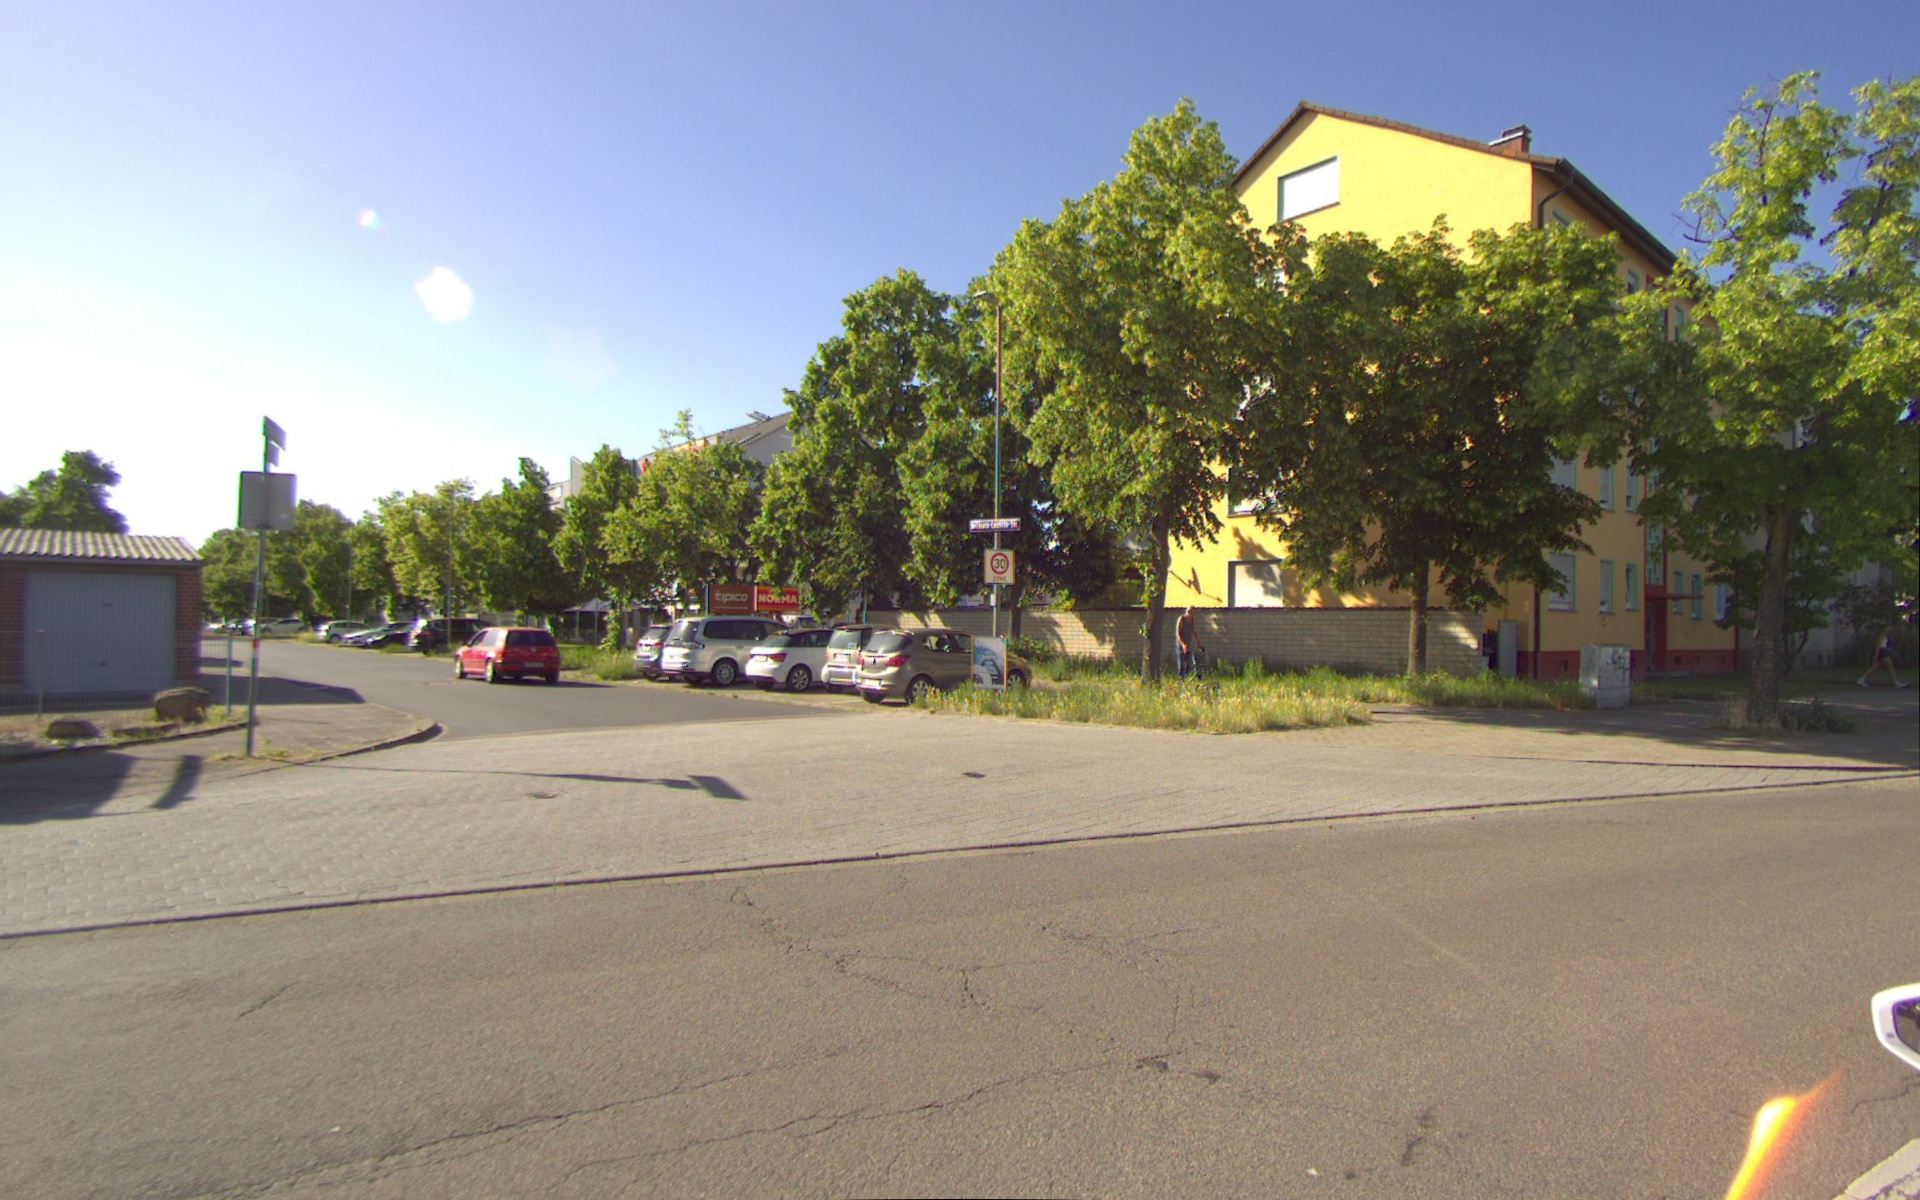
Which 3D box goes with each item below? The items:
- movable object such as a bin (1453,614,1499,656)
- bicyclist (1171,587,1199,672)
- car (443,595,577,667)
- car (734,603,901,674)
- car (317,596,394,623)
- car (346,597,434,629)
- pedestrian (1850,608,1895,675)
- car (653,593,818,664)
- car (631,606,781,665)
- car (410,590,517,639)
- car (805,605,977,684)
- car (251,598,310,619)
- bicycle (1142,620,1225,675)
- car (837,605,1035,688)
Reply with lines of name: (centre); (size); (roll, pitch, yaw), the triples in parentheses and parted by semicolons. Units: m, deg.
movable object such as a bin: (11.995, 0.809, 23.350); (0.739, 0.923, 0.691); (1, 0, -38)
bicyclist: (4.629, 0.613, 20.653); (0.382, 1.708, 0.381); (3, -1, 29)
car: (-12.037, 0.752, 26.731); (2.004, 1.589, 4.338); (1, 2, -42)
car: (-3.419, 0.878, 24.557); (1.680, 1.484, 3.856); (2, 3, 44)
car: (-38.927, 0.613, 64.742); (3.971, 1.641, 1.634); (2, -1, -43)
car: (-31.868, 0.732, 56.207); (1.632, 1.641, 3.976); (2, -1, 44)
pedestrian: (24.654, 1.121, 27.141); (0.712, 1.740, 0.682); (4, -1, -30)
car: (-5.791, 0.715, 26.166); (3.851, 1.702, 1.682); (1, 1, -42)
car: (-7.152, 0.976, 28.488); (3.851, 1.525, 1.488); (1, 1, -42)
car: (-21.334, 0.635, 43.178); (3.954, 1.951, 1.832); (3, -1, -30)
car: (-1.543, 0.968, 23.448); (1.680, 1.643, 3.857); (2, 1, 44)
car: (-58.116, 0.736, 85.988); (3.971, 1.641, 1.634); (2, -1, -43)
bicycle: (4.588, 0.959, 20.656); (1.593, 1.024, 0.406); (2, 1, 29)
car: (-0.432, 0.891, 20.428); (3.853, 1.483, 1.712); (1, 1, -43)
